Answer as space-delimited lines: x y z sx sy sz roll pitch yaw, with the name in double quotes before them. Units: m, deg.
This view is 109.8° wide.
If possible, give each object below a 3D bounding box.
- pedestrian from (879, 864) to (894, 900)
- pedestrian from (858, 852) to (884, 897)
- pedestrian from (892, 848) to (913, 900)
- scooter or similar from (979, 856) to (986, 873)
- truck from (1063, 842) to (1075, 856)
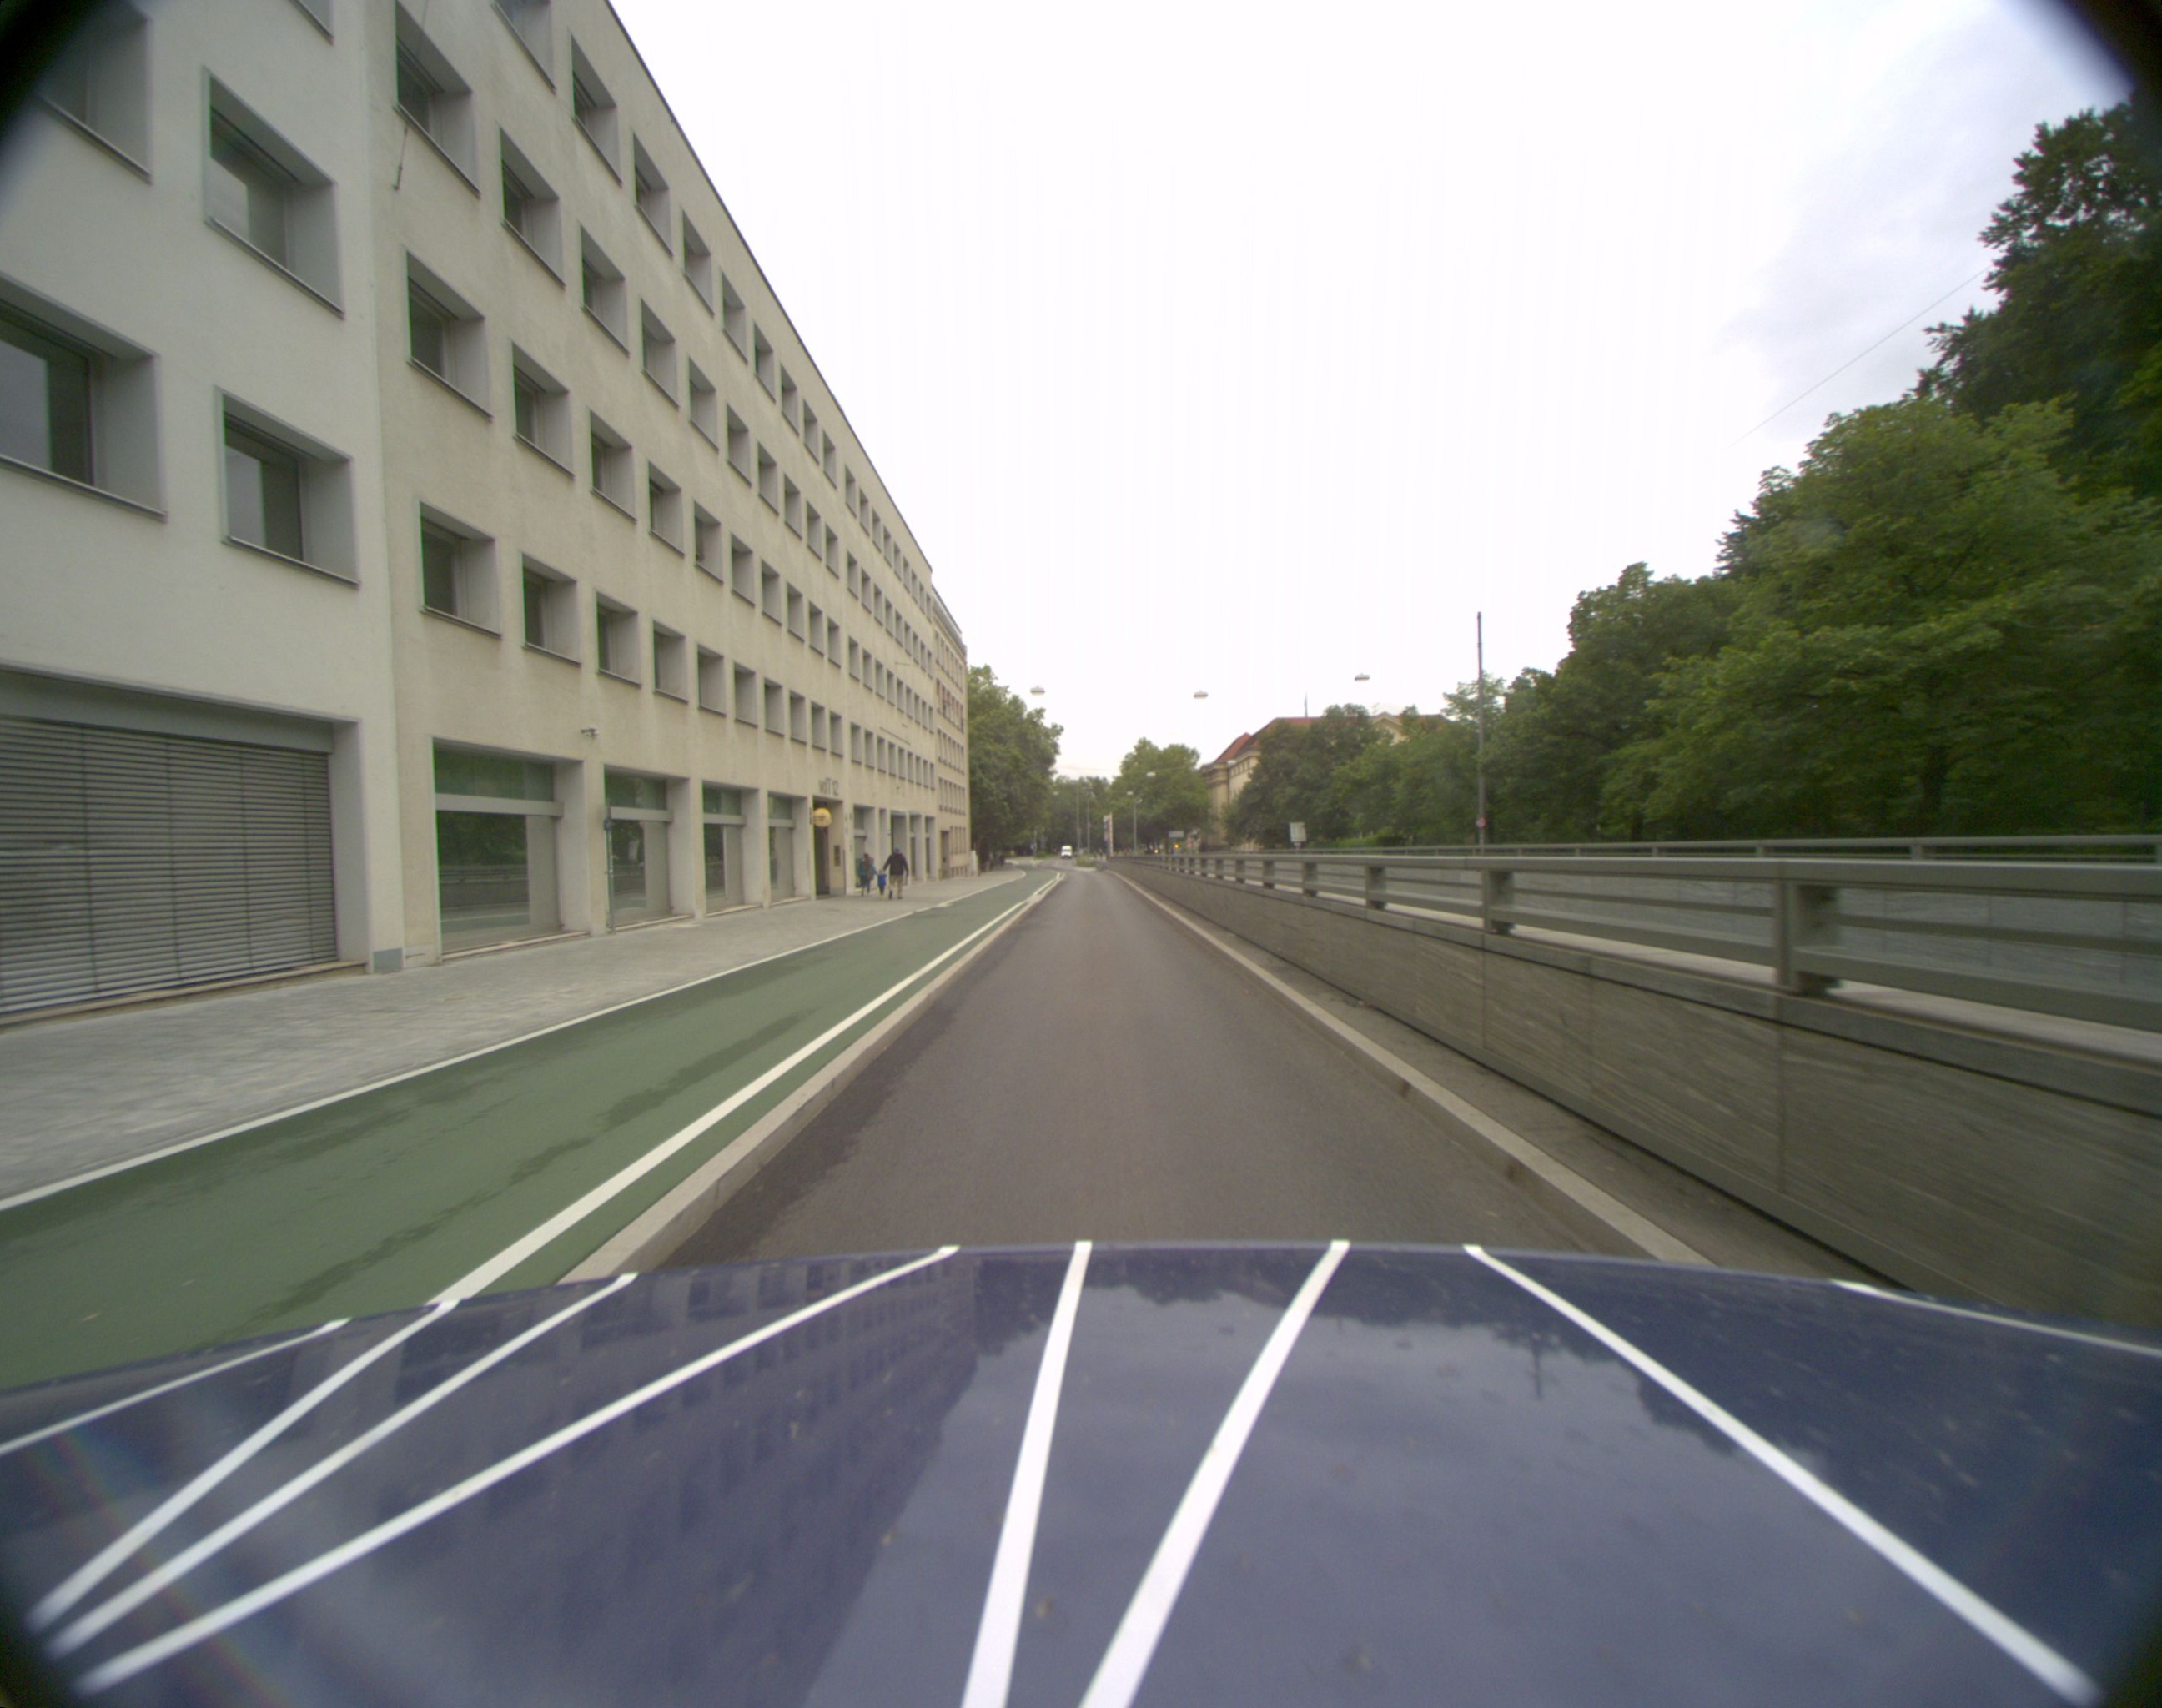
"pedestrian" -6.864 0.985 26.783 0.368 1.239 0.470 2 1 1
"pedestrian" -7.920 0.766 28.690 0.754 1.610 0.704 2 1 1
"pedestrian" -6.374 0.703 27.141 0.514 1.825 0.602 2 1 1
"scooter or similar" -7.738 0.846 59.842 0.387 1.265 1.119 0 2 0
"truck" -2.433 -1.005 155.874 2.057 2.625 4.413 -2 1 5
